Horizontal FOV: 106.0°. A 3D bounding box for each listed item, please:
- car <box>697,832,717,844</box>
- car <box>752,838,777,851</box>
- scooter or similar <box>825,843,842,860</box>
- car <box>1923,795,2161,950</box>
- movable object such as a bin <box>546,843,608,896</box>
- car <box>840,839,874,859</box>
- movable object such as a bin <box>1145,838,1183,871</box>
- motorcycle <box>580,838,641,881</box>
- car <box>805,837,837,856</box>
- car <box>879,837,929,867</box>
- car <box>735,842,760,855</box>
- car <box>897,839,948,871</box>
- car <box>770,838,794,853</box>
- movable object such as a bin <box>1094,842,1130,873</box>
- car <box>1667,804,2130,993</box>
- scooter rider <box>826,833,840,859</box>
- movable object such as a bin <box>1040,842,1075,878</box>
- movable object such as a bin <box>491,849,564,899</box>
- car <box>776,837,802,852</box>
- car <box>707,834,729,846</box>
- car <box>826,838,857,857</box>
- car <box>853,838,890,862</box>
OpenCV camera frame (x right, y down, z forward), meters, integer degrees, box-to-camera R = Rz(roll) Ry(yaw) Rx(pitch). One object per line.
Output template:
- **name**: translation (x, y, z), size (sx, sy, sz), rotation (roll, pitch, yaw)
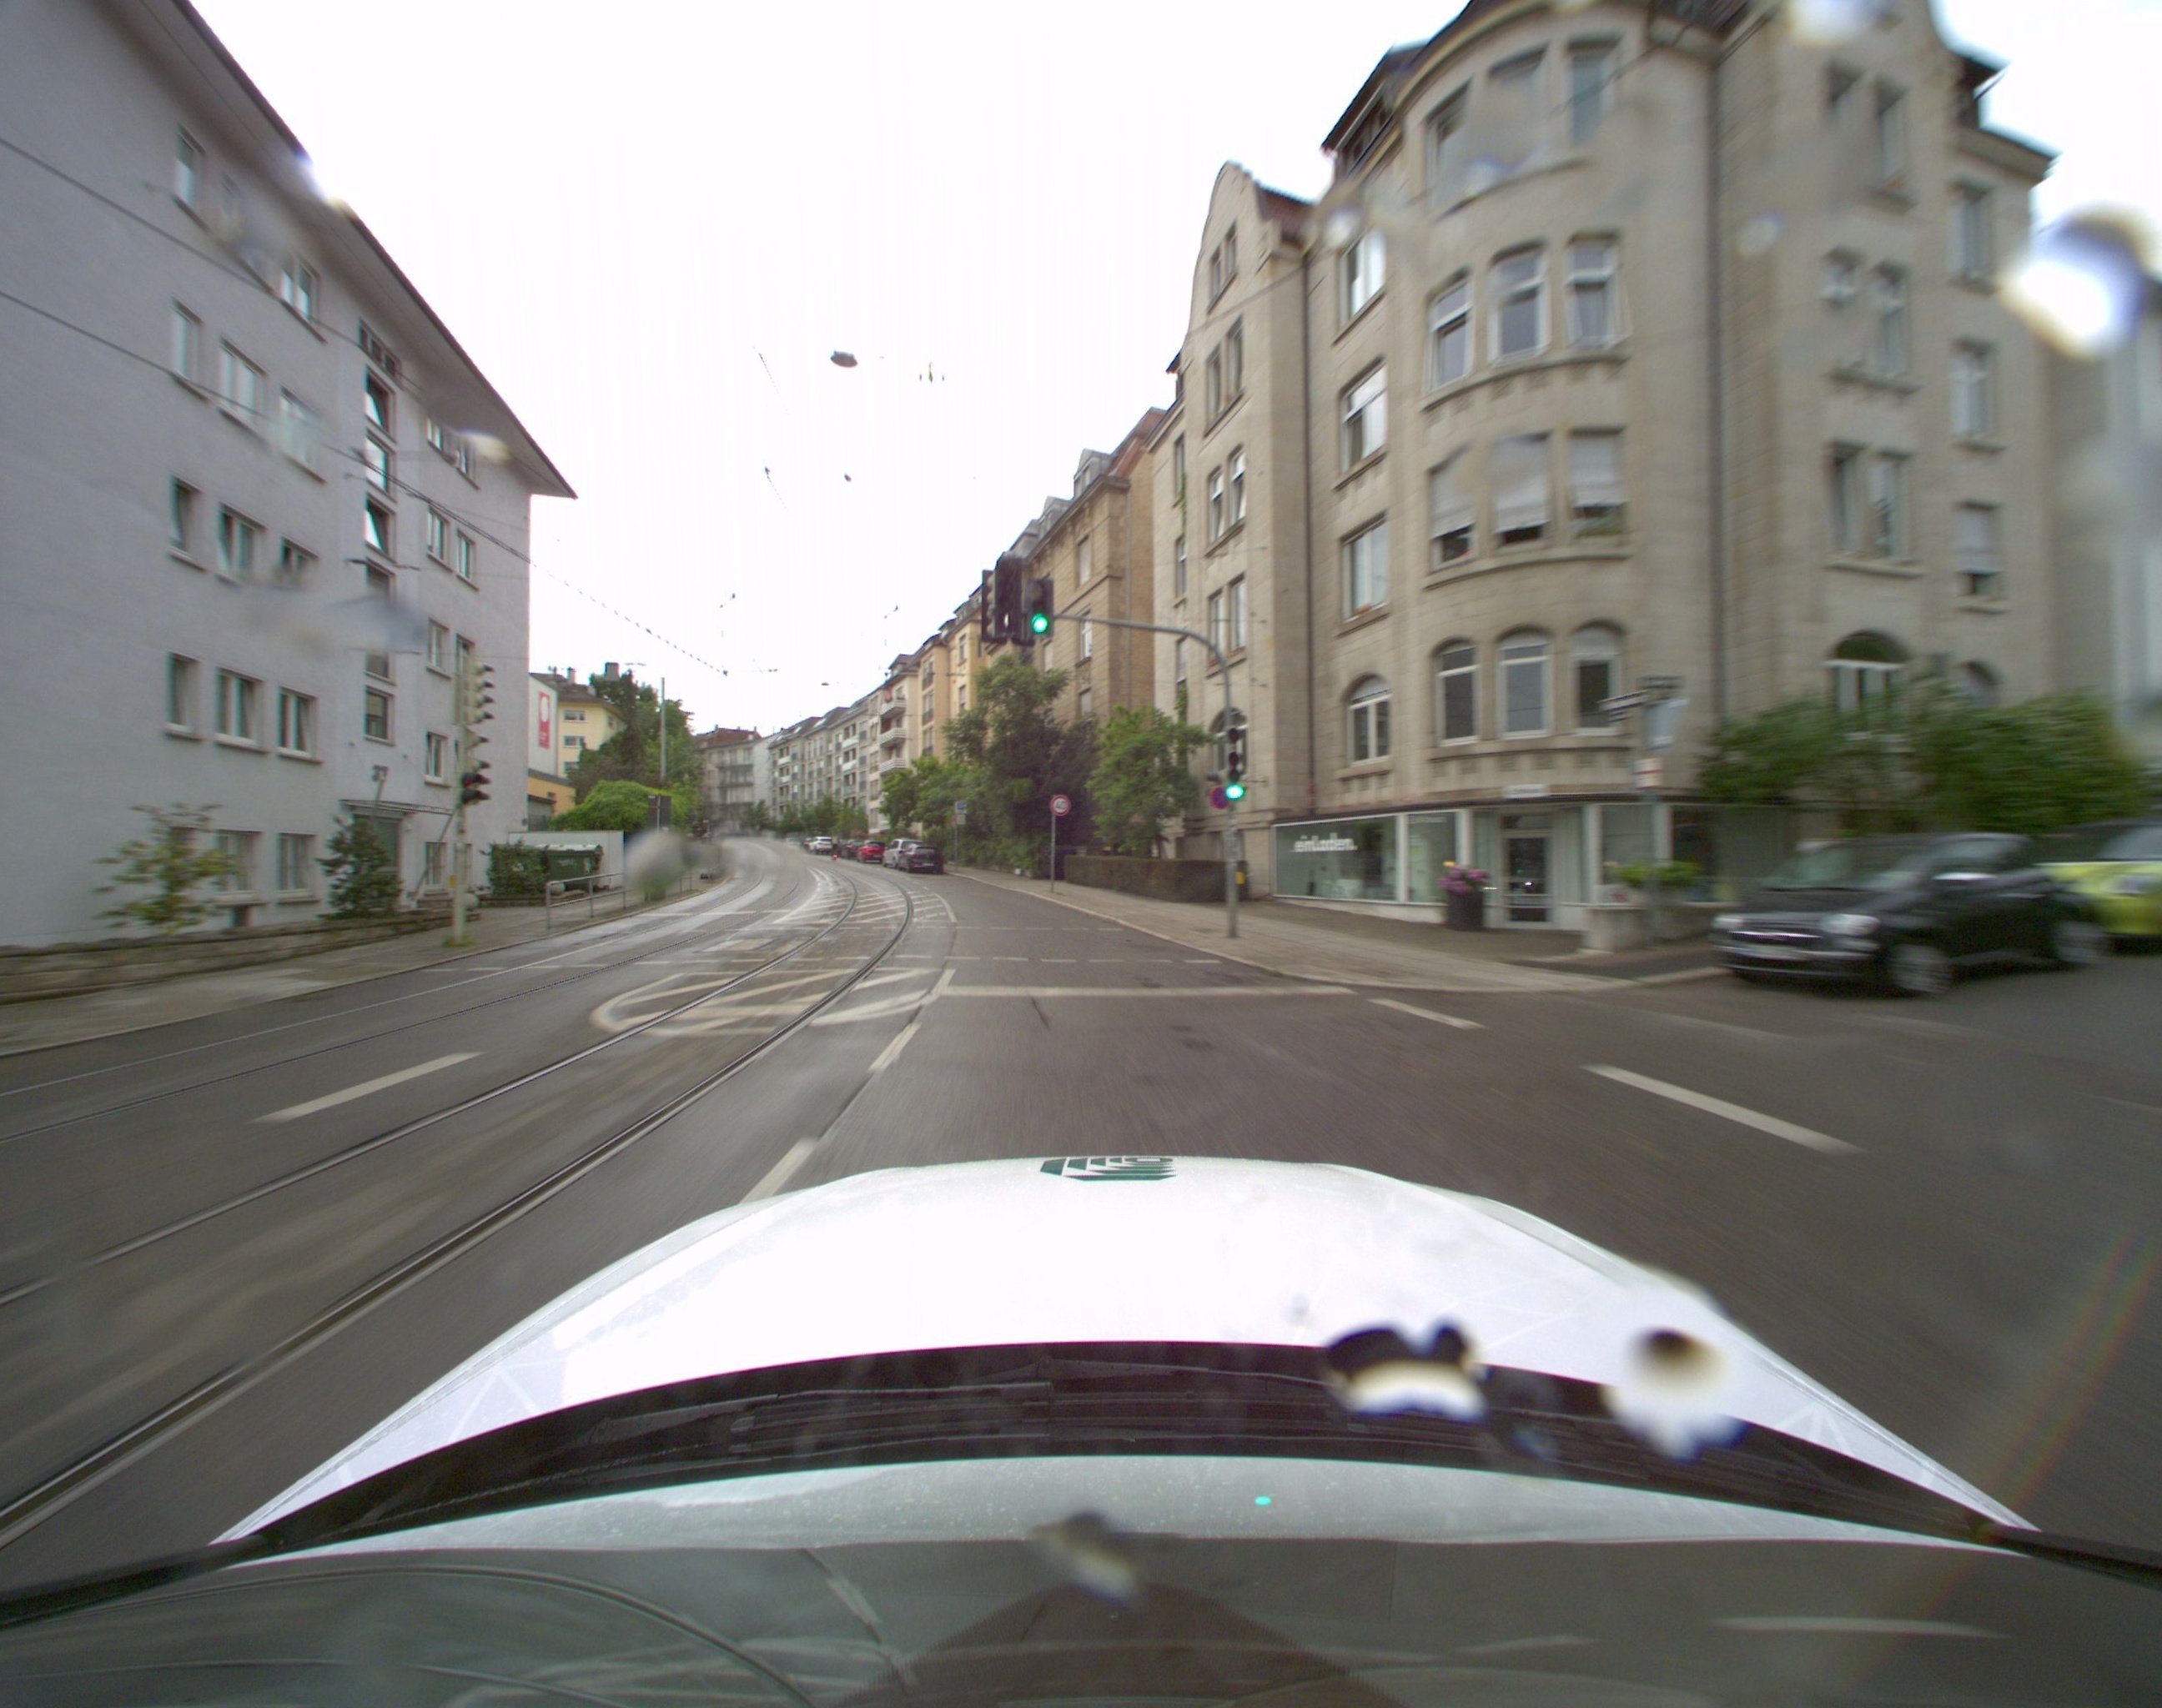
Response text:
- **car**: translation (-56.635, -2.431, 123.156), size (1.781, 1.684, 4.200), rotation (1, 1, -38)
- **car**: translation (-37.847, -1.124, 97.284), size (1.775, 1.434, 4.589), rotation (-1, 2, -35)
- **scooter or similar**: translation (-17.050, -0.184, 56.079), size (0.517, 1.049, 1.988), rotation (3, 0, -33)
- **car**: translation (12.405, 0.108, 9.632), size (3.662, 1.508, 1.730), rotation (-4, 1, -13)
- **movable object such as a bin**: translation (-15.147, 0.456, 24.518), size (1.187, 1.461, 1.284), rotation (-2, 3, -15)
- **car**: translation (-16.711, -0.394, 60.579), size (1.692, 1.436, 4.029), rotation (1, 1, -26)
- **movable object such as a bin**: translation (3.739, -0.007, 36.769), size (1.235, 1.424, 1.298), rotation (-2, 2, -21)
- **motorcycle**: translation (-18.710, 0.213, 32.432), size (1.928, 1.600, 0.592), rotation (-2, 3, -20)
- **car**: translation (-23.503, -0.706, 73.417), size (1.849, 1.573, 4.208), rotation (2, 0, -30)
- **car**: translation (-10.007, -0.142, 45.734), size (1.775, 1.603, 4.252), rotation (-1, 2, -26)
- **car**: translation (-43.036, -0.717, 104.995), size (1.782, 1.615, 4.198), rotation (-1, 2, -41)
- **car**: translation (-8.036, 0.031, 41.047), size (1.773, 1.390, 3.972), rotation (1, 2, -22)
- **car**: translation (-33.495, -0.961, 91.251), size (1.713, 1.512, 3.676), rotation (1, 1, -33)
- **movable object such as a bin**: translation (1.363, 0.146, 35.818), size (1.222, 1.308, 1.160), rotation (-2, 1, -21)
- **car**: translation (8.469, 0.372, 8.560), size (3.662, 1.508, 1.730), rotation (-4, 1, -13)
- **scooter rider**: translation (-16.981, -0.549, 55.838), size (0.627, 1.705, 0.835), rotation (3, 0, -34)
- **movable object such as a bin**: translation (-0.977, 0.245, 34.379), size (1.232, 1.402, 0.815), rotation (-3, 4, -29)
- **movable object such as a bin**: translation (-16.405, 0.565, 24.191), size (1.371, 1.336, 1.319), rotation (-2, 3, -15)
- **car**: translation (-31.319, -1.017, 87.304), size (1.672, 1.471, 4.463), rotation (1, 0, -31)
- **car**: translation (-53.083, -2.077, 119.124), size (1.781, 1.684, 4.199), rotation (1, 1, -40)
- **car**: translation (-19.324, -0.565, 65.662), size (1.565, 1.436, 4.264), rotation (1, 1, -28)
- **car**: translation (-13.751, -0.287, 53.406), size (1.729, 1.436, 3.811), rotation (1, 1, -24)
